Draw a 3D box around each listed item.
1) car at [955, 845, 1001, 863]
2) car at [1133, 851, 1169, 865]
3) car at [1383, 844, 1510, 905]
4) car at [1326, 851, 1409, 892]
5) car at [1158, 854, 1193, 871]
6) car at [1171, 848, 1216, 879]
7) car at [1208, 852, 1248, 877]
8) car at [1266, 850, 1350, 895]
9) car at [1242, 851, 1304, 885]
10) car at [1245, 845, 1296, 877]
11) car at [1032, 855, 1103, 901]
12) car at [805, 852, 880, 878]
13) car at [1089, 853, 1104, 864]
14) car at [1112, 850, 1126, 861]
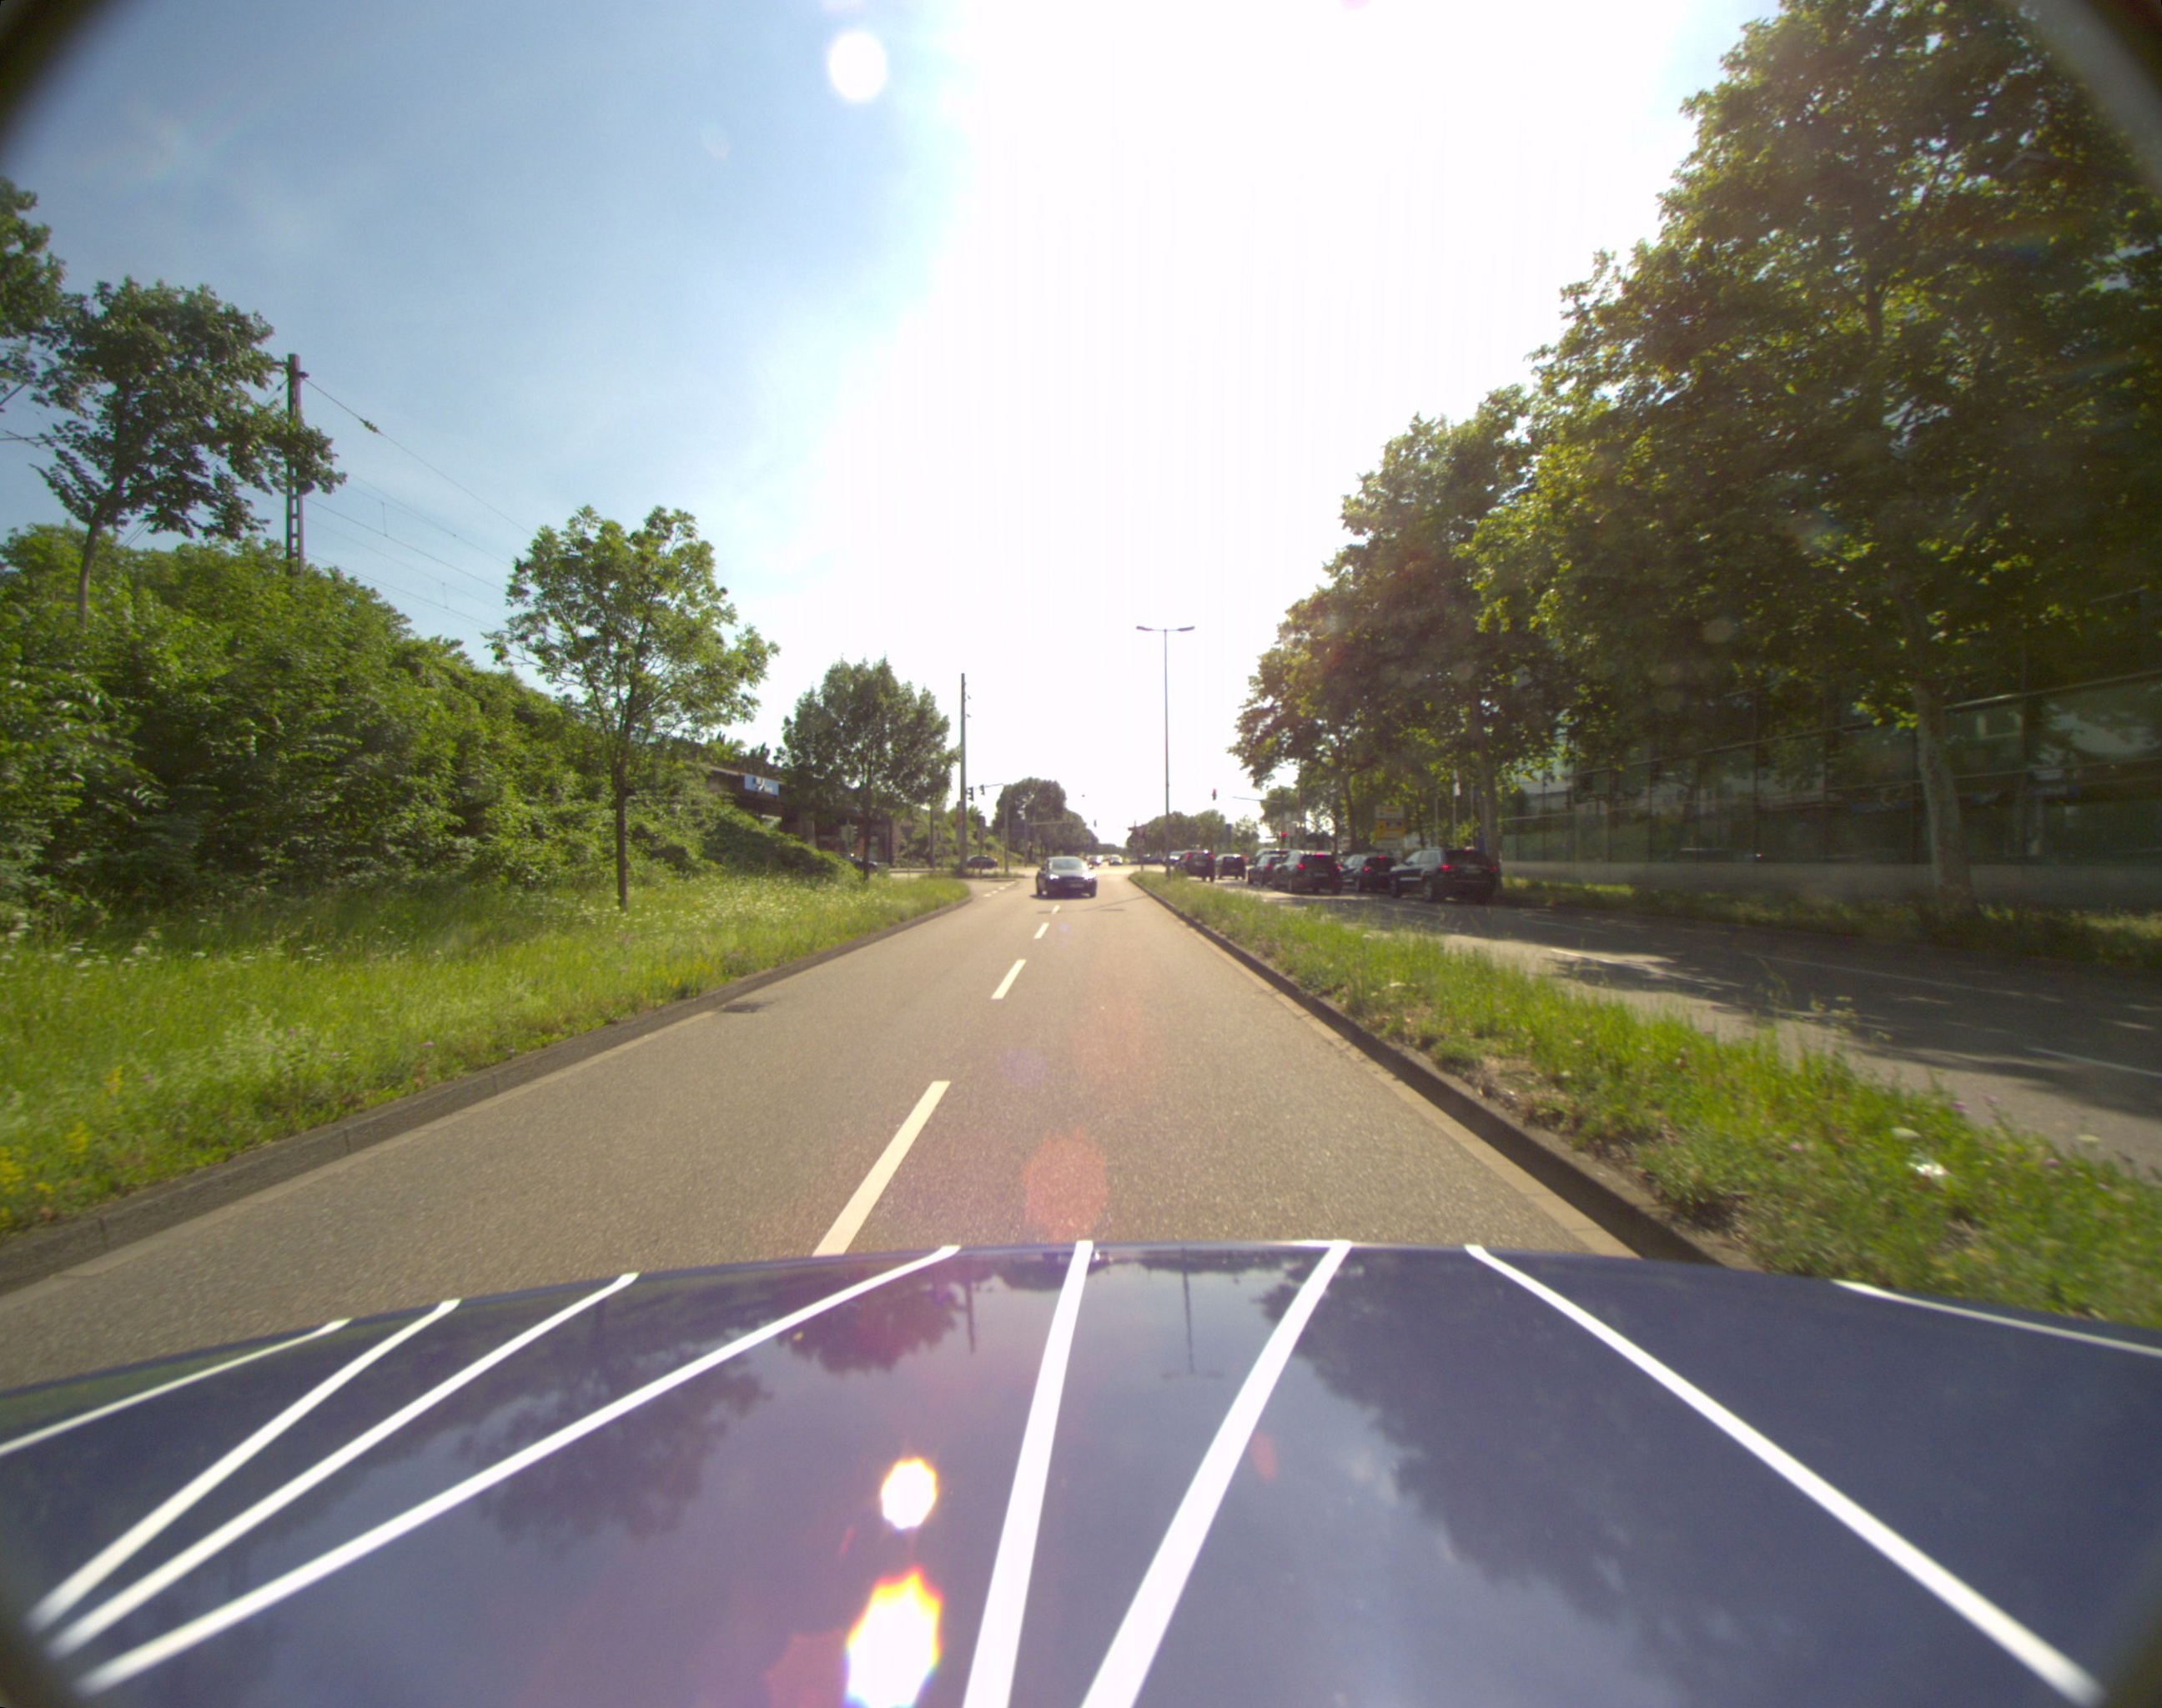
[{"bbox_3d":[-10.096,0.021,74.606,4.006,1.603,1.815,0,-2,-29],"label":"car"},{"bbox_3d":[8.322,0.408,89.894,4.007,1.619,1.768,0,1,-32],"label":"car"},{"bbox_3d":[11.972,0.617,25.309,1.998,1.824,4.651,1,0,1],"label":"car"},{"bbox_3d":[12.008,0.689,32.178,1.892,1.581,4.445,1,0,1],"label":"car"},{"bbox_3d":[9.683,0.871,77.586,1.994,1.699,4.439,0,0,31],"label":"car"},{"bbox_3d":[6.155,0.518,41.988,1.812,1.606,4.490,0,0,0],"label":"car"},{"bbox_3d":[9.090,0.631,47.211,1.766,1.467,3.958,0,0,0],"label":"car"},{"bbox_3d":[8.748,0.671,29.718,1.998,1.601,4.496,0,0,1],"label":"car"},{"bbox_3d":[9.083,0.623,36.269,1.840,1.454,4.517,2,0,1],"label":"car"},{"bbox_3d":[11.833,0.408,47.882,1.943,1.908,5.228,0,0,0],"label":"car"},{"bbox_3d":[-0.581,0.819,28.171,1.828,1.498,4.211,-2,1,-12],"label":"car"},{"bbox_3d":[-16.338,0.715,52.109,4.453,1.587,1.995,-2,1,-37],"label":"car"},{"bbox_3d":[2.238,0.667,109.463,1.714,1.384,4.003,-1,-2,7],"label":"car"},{"bbox_3d":[5.533,0.252,111.070,1.714,1.498,4.003,-1,-2,7],"label":"car"}]
